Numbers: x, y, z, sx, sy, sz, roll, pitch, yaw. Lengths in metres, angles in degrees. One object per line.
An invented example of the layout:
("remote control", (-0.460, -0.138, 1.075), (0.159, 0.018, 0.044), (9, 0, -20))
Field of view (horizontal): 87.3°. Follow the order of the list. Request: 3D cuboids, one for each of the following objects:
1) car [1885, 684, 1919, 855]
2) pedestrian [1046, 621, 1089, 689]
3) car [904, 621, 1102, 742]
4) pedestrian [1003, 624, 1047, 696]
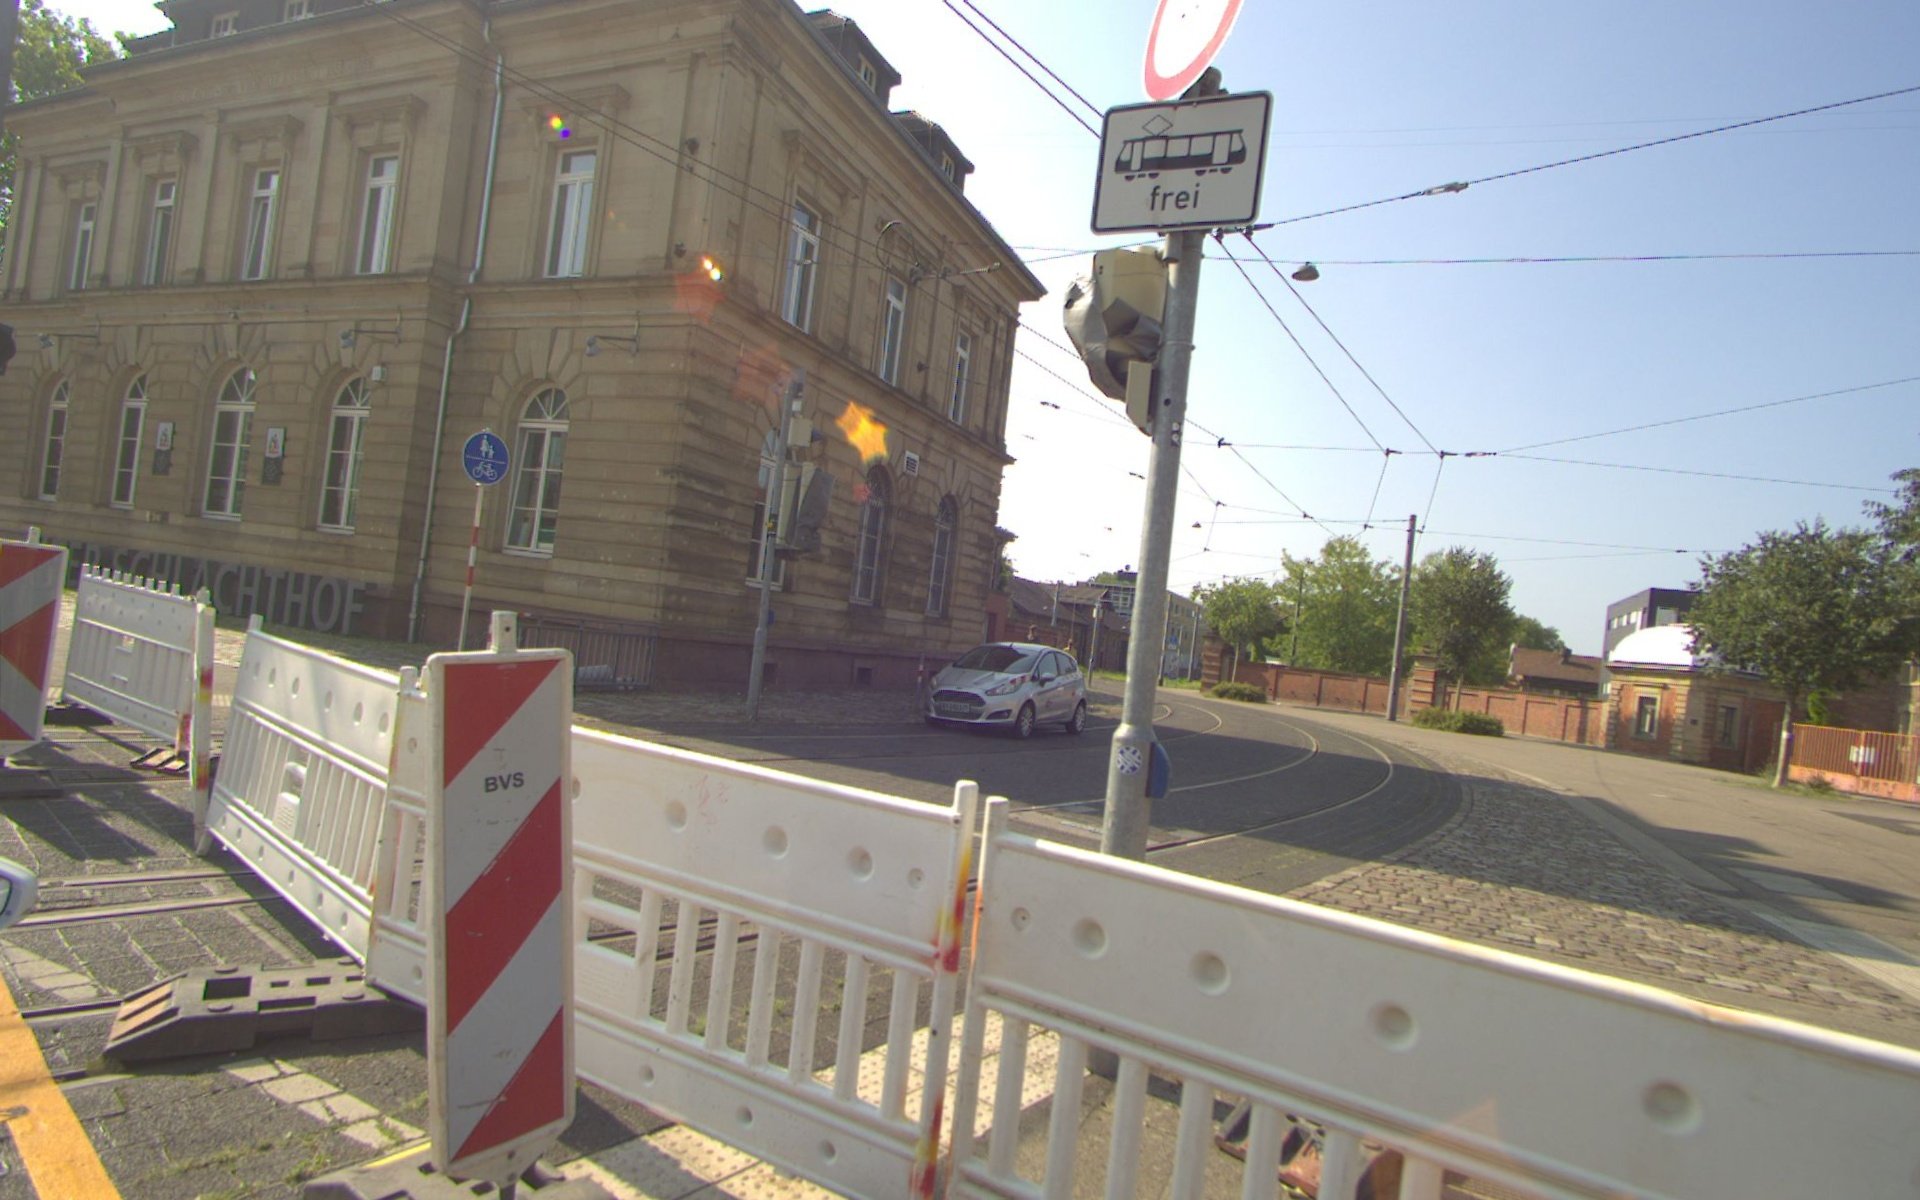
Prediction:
("car", (16.296, 2.685, 13.264), (5.387, 2.451, 2.266), (6, -1, 21))
("pedestrian", (3.213, 1.621, 29.958), (1.018, 1.886, 0.671), (6, -1, 11))
("car", (0.845, 1.337, 16.406), (1.636, 1.554, 4.011), (6, -2, 26))
("pedestrian", (1.806, 1.666, 27.994), (0.853, 1.886, 0.671), (6, -1, 25))
